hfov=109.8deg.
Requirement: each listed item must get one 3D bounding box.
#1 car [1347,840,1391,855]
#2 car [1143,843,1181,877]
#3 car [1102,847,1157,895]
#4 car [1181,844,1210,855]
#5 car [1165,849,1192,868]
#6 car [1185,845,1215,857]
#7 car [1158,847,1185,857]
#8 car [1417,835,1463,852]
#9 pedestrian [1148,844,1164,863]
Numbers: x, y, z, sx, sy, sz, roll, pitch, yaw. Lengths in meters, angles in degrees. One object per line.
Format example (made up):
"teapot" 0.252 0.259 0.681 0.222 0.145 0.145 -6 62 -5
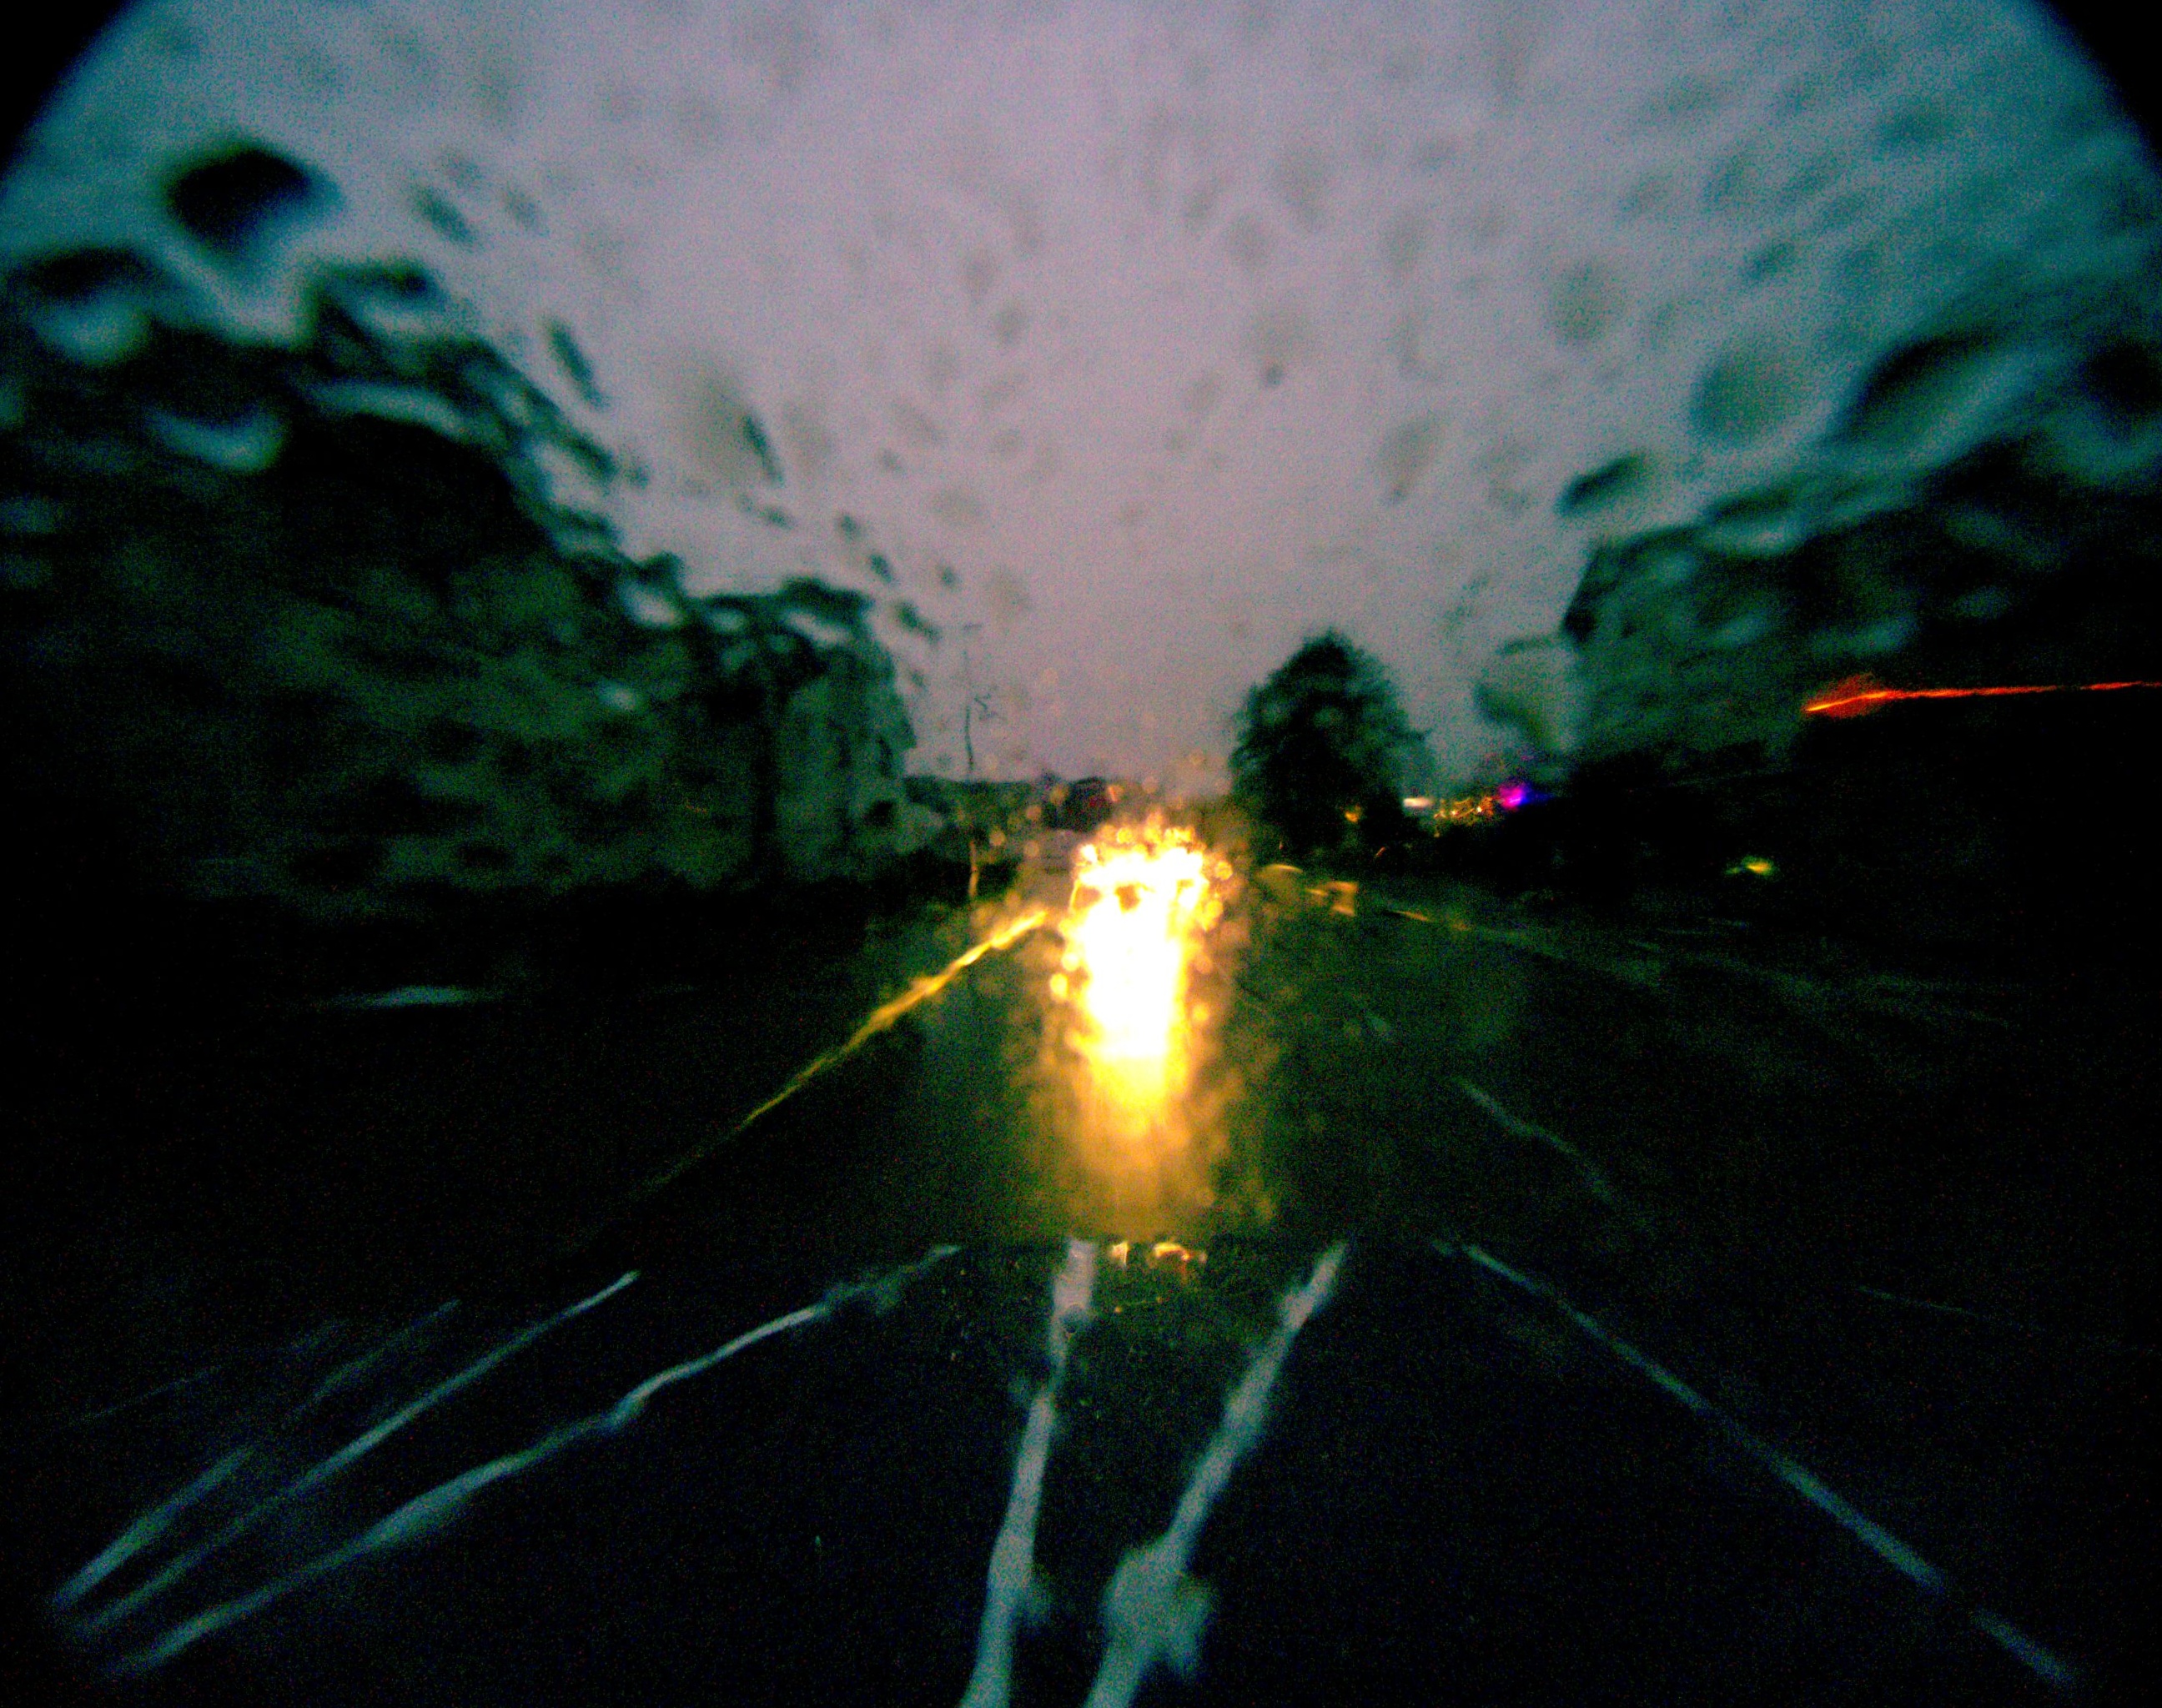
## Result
"car" 35.683 -0.825 94.307 4.779 1.702 2.034 -1 0 7
"car" 4.669 0.313 43.465 1.897 1.689 4.242 -4 0 7
"car" 1.915 0.587 28.783 1.775 1.632 4.423 -2 0 7
"car" 17.539 -0.705 115.915 4.177 1.432 1.799 -3 -1 13
"car" 8.352 0.351 64.653 1.997 1.464 4.003 -2 0 11
"car" 18.837 -0.459 120.435 4.409 1.713 1.780 -1 1 30
"car" 14.694 -0.289 123.903 4.030 1.486 1.781 -1 1 41
"car" 49.340 -1.418 104.520 5.195 2.269 2.220 0 0 7
"pedestrian" 7.291 -0.051 73.986 1.256 1.855 1.305 1 2 17
